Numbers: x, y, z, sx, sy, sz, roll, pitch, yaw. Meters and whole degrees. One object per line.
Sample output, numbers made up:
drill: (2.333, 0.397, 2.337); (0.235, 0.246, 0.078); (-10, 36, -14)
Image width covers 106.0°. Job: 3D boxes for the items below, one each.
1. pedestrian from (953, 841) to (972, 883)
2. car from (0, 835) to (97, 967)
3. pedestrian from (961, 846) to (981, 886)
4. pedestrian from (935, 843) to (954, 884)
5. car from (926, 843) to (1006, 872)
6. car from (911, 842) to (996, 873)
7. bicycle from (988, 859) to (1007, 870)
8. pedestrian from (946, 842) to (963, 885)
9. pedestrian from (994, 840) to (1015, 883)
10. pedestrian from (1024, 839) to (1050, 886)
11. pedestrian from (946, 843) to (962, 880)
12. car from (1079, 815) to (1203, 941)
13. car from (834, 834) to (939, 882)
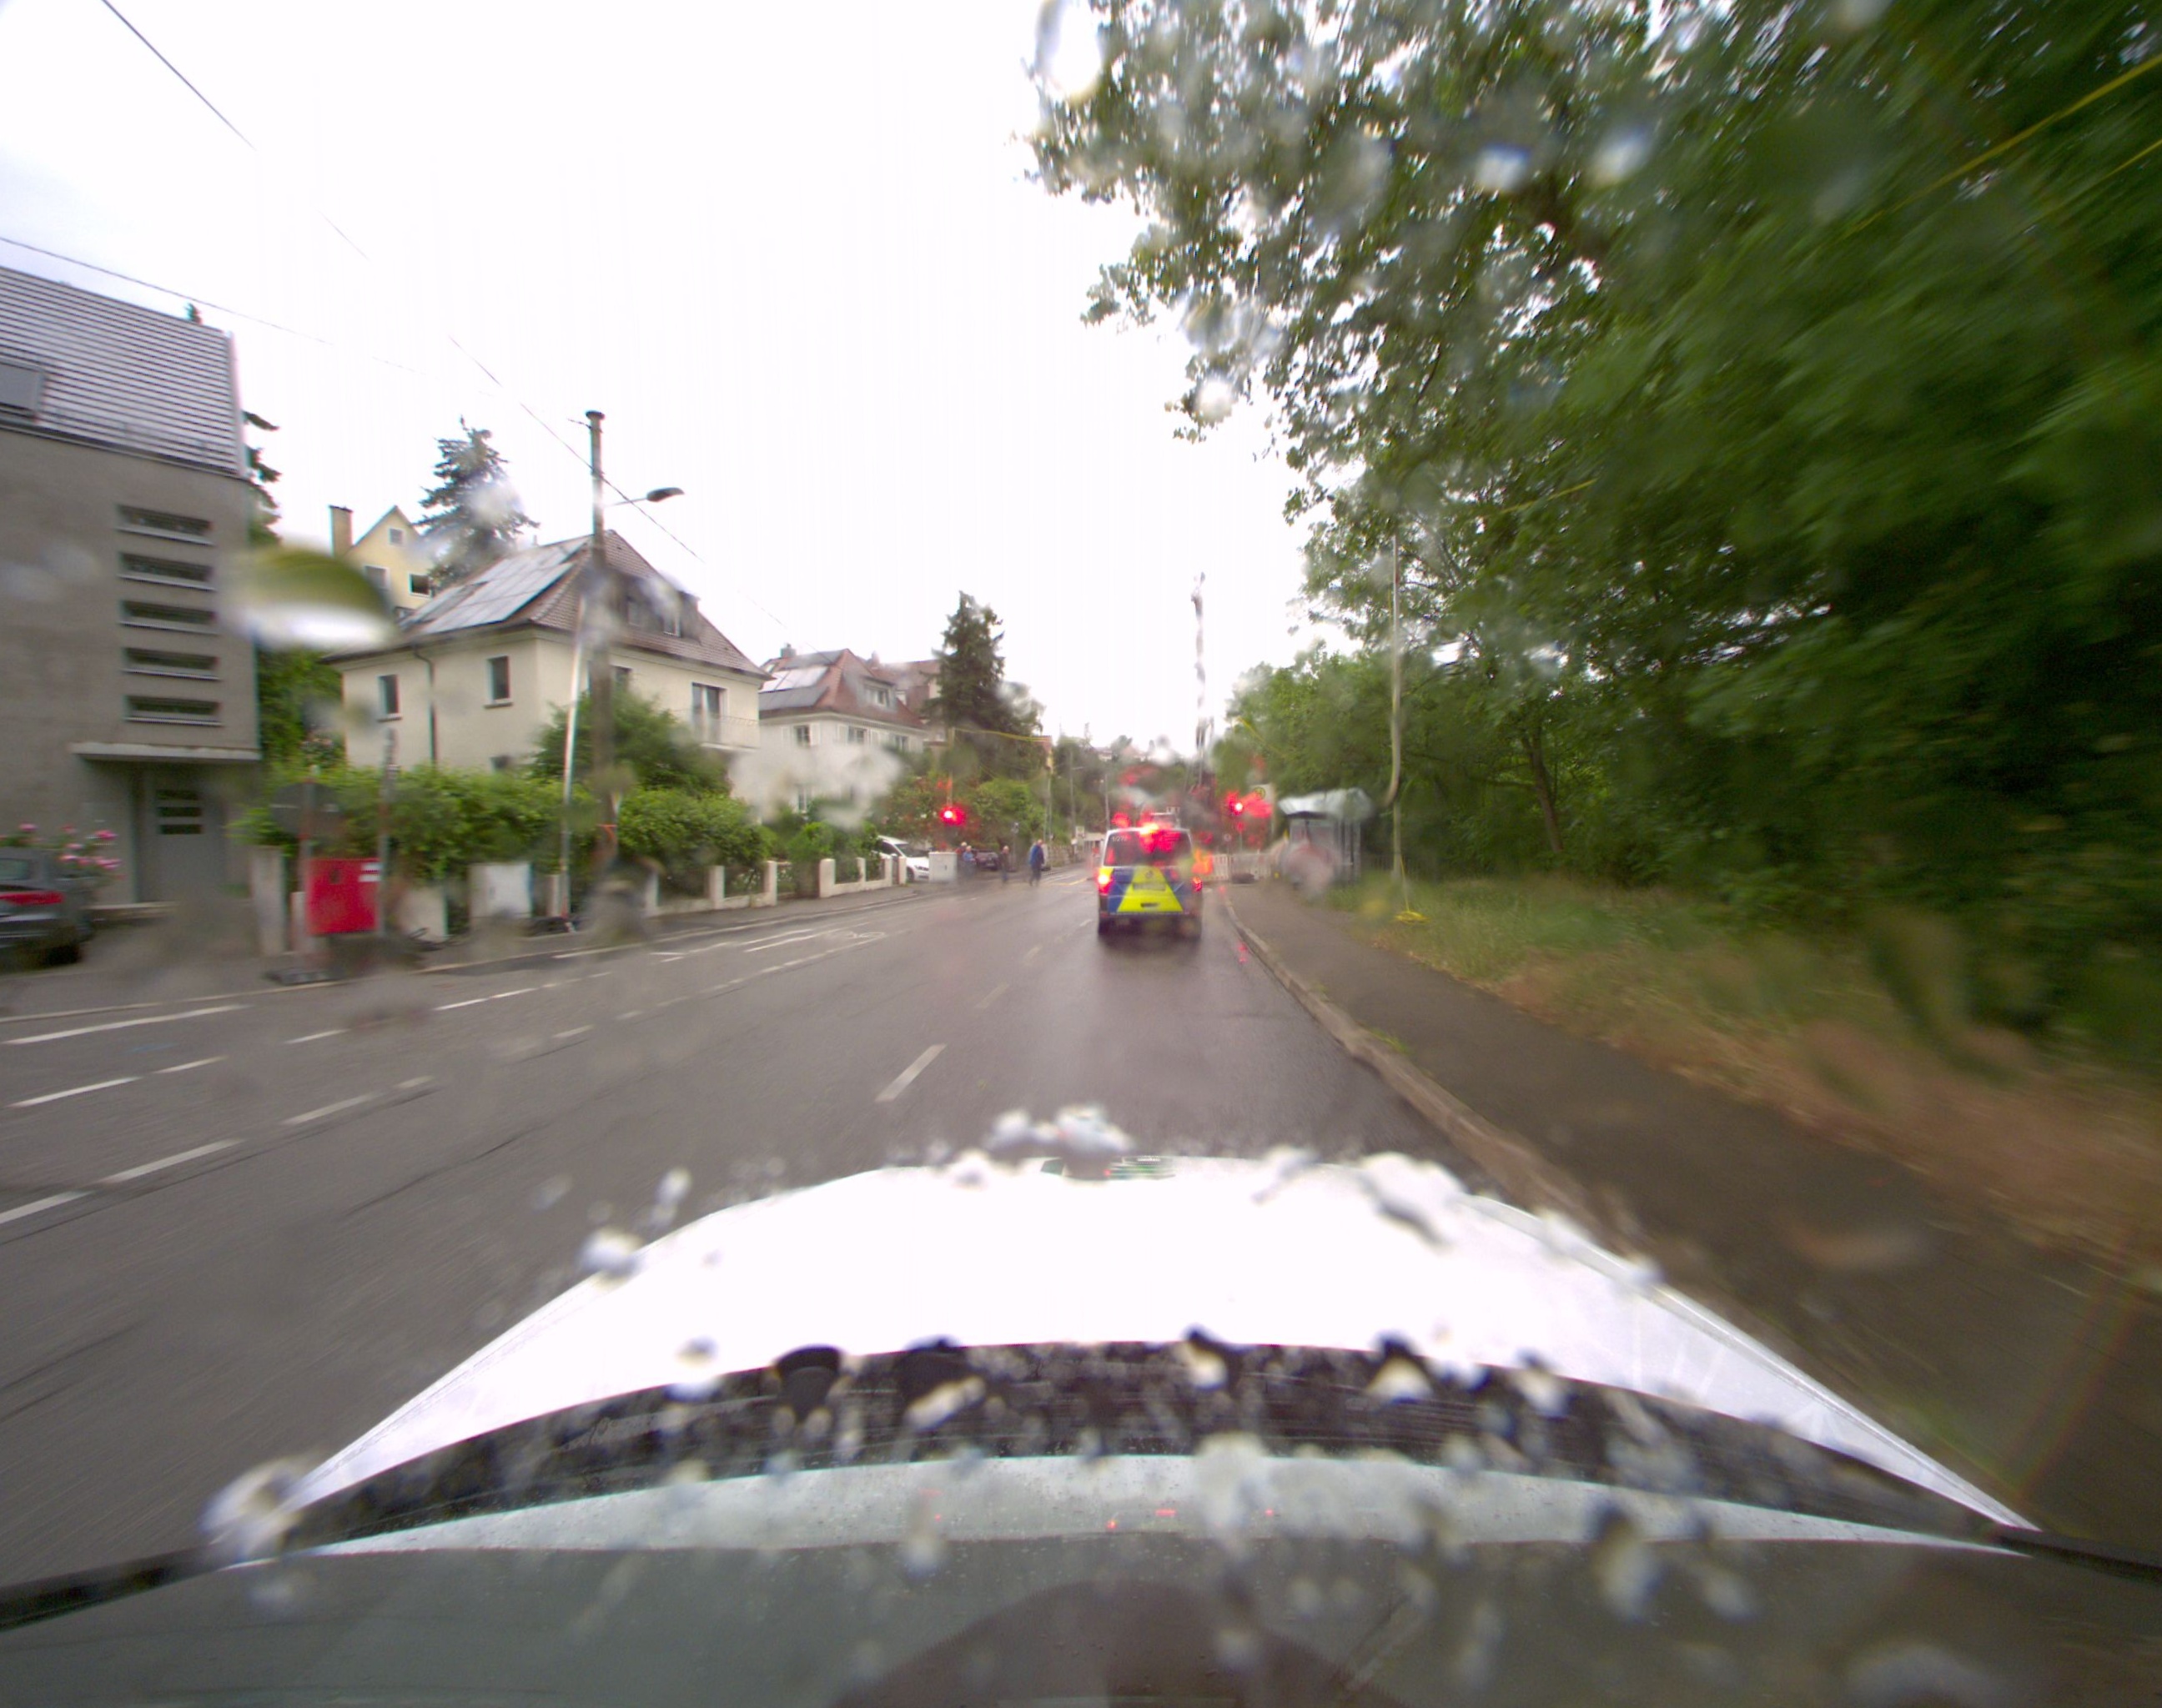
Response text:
pedestrian: (-4.900, 0.325, 33.655); (0.623, 1.715, 0.594); (1, -2, 6)
car: (-13.519, 0.511, 9.943); (3.949, 1.443, 1.851); (0, 1, 40)
pedestrian: (-4.297, 0.477, 31.810); (0.623, 1.522, 0.594); (1, -2, 6)
pedestrian: (-5.324, 0.377, 31.787); (0.560, 1.582, 0.469); (1, -2, 6)
car: (-6.287, 0.204, 44.668); (3.958, 1.486, 1.766); (1, -2, 15)
car: (-6.628, 0.187, 42.534); (3.958, 1.486, 1.766); (1, -2, 15)
bicycle: (-4.861, 0.608, 47.514); (1.046, 0.662, 0.321); (1, -2, 14)
pedestrian: (-5.040, 0.375, 32.459); (0.546, 1.668, 0.415); (1, -2, 6)
pedestrian: (-2.935, 0.291, 31.408); (0.683, 1.604, 0.606); (1, -2, 3)
pedestrian: (-1.696, 0.323, 31.754); (0.886, 1.787, 0.829); (1, -2, 3)
pedestrian: (-5.152, 0.316, 33.079); (0.522, 1.507, 0.430); (1, -2, 6)
car: (1.263, 0.363, 15.620); (1.983, 2.013, 4.411); (-2, 1, 7)
car: (-8.376, 0.169, 35.177); (3.957, 2.013, 1.838); (0, 0, 15)
